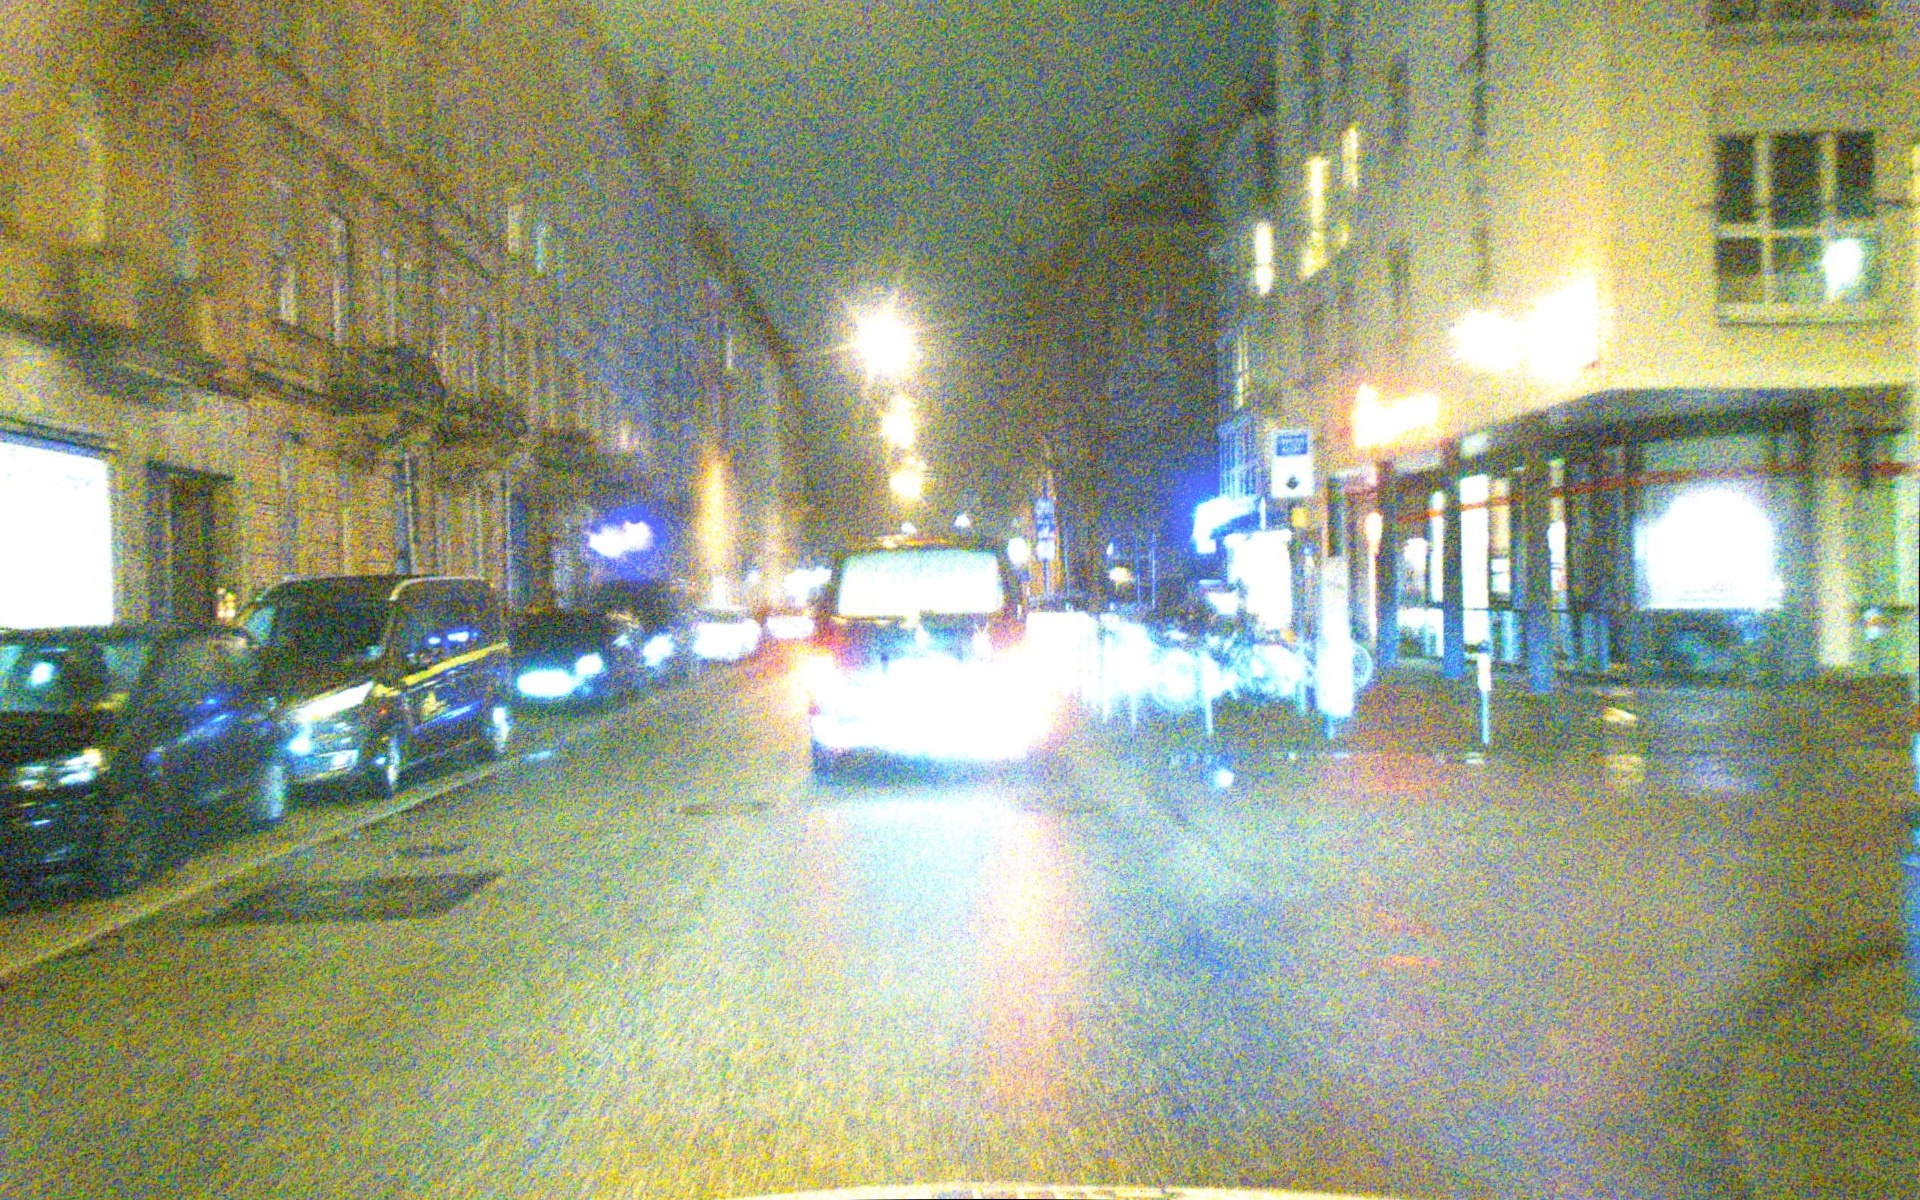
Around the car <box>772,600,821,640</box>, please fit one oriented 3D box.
[{"bbox_3d":[-6.388,0.775,65.034,1.638,1.517,3.720,0,0,-1],"label":"car"}]

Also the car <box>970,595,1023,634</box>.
[{"bbox_3d":[1.471,0.569,68.224,1.953,1.489,4.415,-1,0,-1],"label":"car"}]

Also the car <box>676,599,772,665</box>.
[{"bbox_3d":[-5.943,0.771,42.125,1.731,1.509,4.771,2,0,-1],"label":"car"}]

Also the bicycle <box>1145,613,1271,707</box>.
[{"bbox_3d":[3.264,0.787,21.836,1.499,1.041,0.366,-7,-1,-3],"label":"bicycle"}]

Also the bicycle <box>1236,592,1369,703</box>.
[{"bbox_3d":[4.392,0.604,21.220,1.499,1.222,0.366,-7,-1,-3],"label":"bicycle"}]

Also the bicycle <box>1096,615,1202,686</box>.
[{"bbox_3d":[3.131,0.834,27.478,1.635,0.968,0.366,-7,-1,6],"label":"bicycle"}]

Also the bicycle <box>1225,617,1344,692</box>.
[{"bbox_3d":[4.453,0.745,22.724,1.498,0.848,0.325,-7,-1,2],"label":"bicycle"}]

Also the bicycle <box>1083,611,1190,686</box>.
[{"bbox_3d":[2.705,0.740,25.410,1.500,0.968,0.366,-7,-1,-6],"label":"bicycle"}]

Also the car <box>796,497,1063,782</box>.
[{"bbox_3d":[-0.257,0.280,14.631,1.955,2.084,4.693,-1,0,-1],"label":"car"}]

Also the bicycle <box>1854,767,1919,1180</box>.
[{"bbox_3d":[3.291,0.881,3.710,2.223,0.909,0.617,-2,0,28],"label":"bicycle"}]

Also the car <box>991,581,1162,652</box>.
[{"bbox_3d":[3.159,0.444,45.403,4.423,1.557,1.779,-5,0,-2],"label":"car"}]

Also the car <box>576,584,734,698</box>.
[{"bbox_3d":[-5.425,0.663,30.102,1.955,1.861,5.205,-1,0,-1],"label":"car"}]

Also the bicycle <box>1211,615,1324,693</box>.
[{"bbox_3d":[4.539,0.794,24.444,1.500,0.968,0.366,-7,-1,-6],"label":"bicycle"}]

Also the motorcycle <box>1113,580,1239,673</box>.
[{"bbox_3d":[4.264,0.524,32.809,2.243,1.615,0.866,-5,0,-2],"label":"motorcycle"}]

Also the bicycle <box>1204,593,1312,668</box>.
[{"bbox_3d":[4.599,0.473,25.524,1.500,0.968,0.366,-7,-1,-6],"label":"bicycle"}]

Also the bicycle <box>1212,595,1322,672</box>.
[{"bbox_3d":[4.626,0.507,24.924,1.500,0.968,0.366,-7,-1,-7],"label":"bicycle"}]

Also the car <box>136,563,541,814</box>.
[{"bbox_3d":[-5.308,0.656,14.917,1.864,1.861,4.828,-1,0,-1],"label":"car"}]

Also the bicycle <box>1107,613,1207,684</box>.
[{"bbox_3d":[3.192,0.784,26.778,1.497,0.968,0.366,-7,-1,6],"label":"bicycle"}]

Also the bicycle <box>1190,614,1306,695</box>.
[{"bbox_3d":[4.109,0.780,23.614,1.498,0.968,0.366,-7,-1,2],"label":"bicycle"}]

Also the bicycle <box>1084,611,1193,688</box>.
[{"bbox_3d":[2.694,0.745,24.967,1.500,0.968,0.366,-7,-1,-6],"label":"bicycle"}]

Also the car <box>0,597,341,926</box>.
[{"bbox_3d":[-5.268,0.801,9.973,1.692,1.602,3.719,-1,0,-1],"label":"car"}]

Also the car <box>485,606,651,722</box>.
[{"bbox_3d":[-5.566,0.851,23.874,1.537,1.485,3.719,-1,0,-1],"label":"car"}]

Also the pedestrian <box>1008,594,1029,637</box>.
[{"bbox_3d":[2.615,0.683,73.827,0.844,1.819,1.083,-3,1,2],"label":"pedestrian"}]

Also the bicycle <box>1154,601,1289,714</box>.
[{"bbox_3d":[3.271,0.719,20.705,1.499,1.222,0.366,-7,-1,-3],"label":"bicycle"}]

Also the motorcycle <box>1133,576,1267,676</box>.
[{"bbox_3d":[4.276,0.463,29.598,2.129,1.574,0.866,-5,0,-2],"label":"motorcycle"}]

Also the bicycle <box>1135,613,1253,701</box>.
[{"bbox_3d":[3.265,0.796,23.143,1.498,1.041,0.366,-7,-1,2],"label":"bicycle"}]

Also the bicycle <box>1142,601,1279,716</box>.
[{"bbox_3d":[3.061,0.711,20.248,1.498,1.222,0.366,-7,-1,1],"label":"bicycle"}]

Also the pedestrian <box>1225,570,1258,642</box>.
[{"bbox_3d":[7.365,0.155,43.246,0.688,1.819,0.624,-3,1,2],"label":"pedestrian"}]
